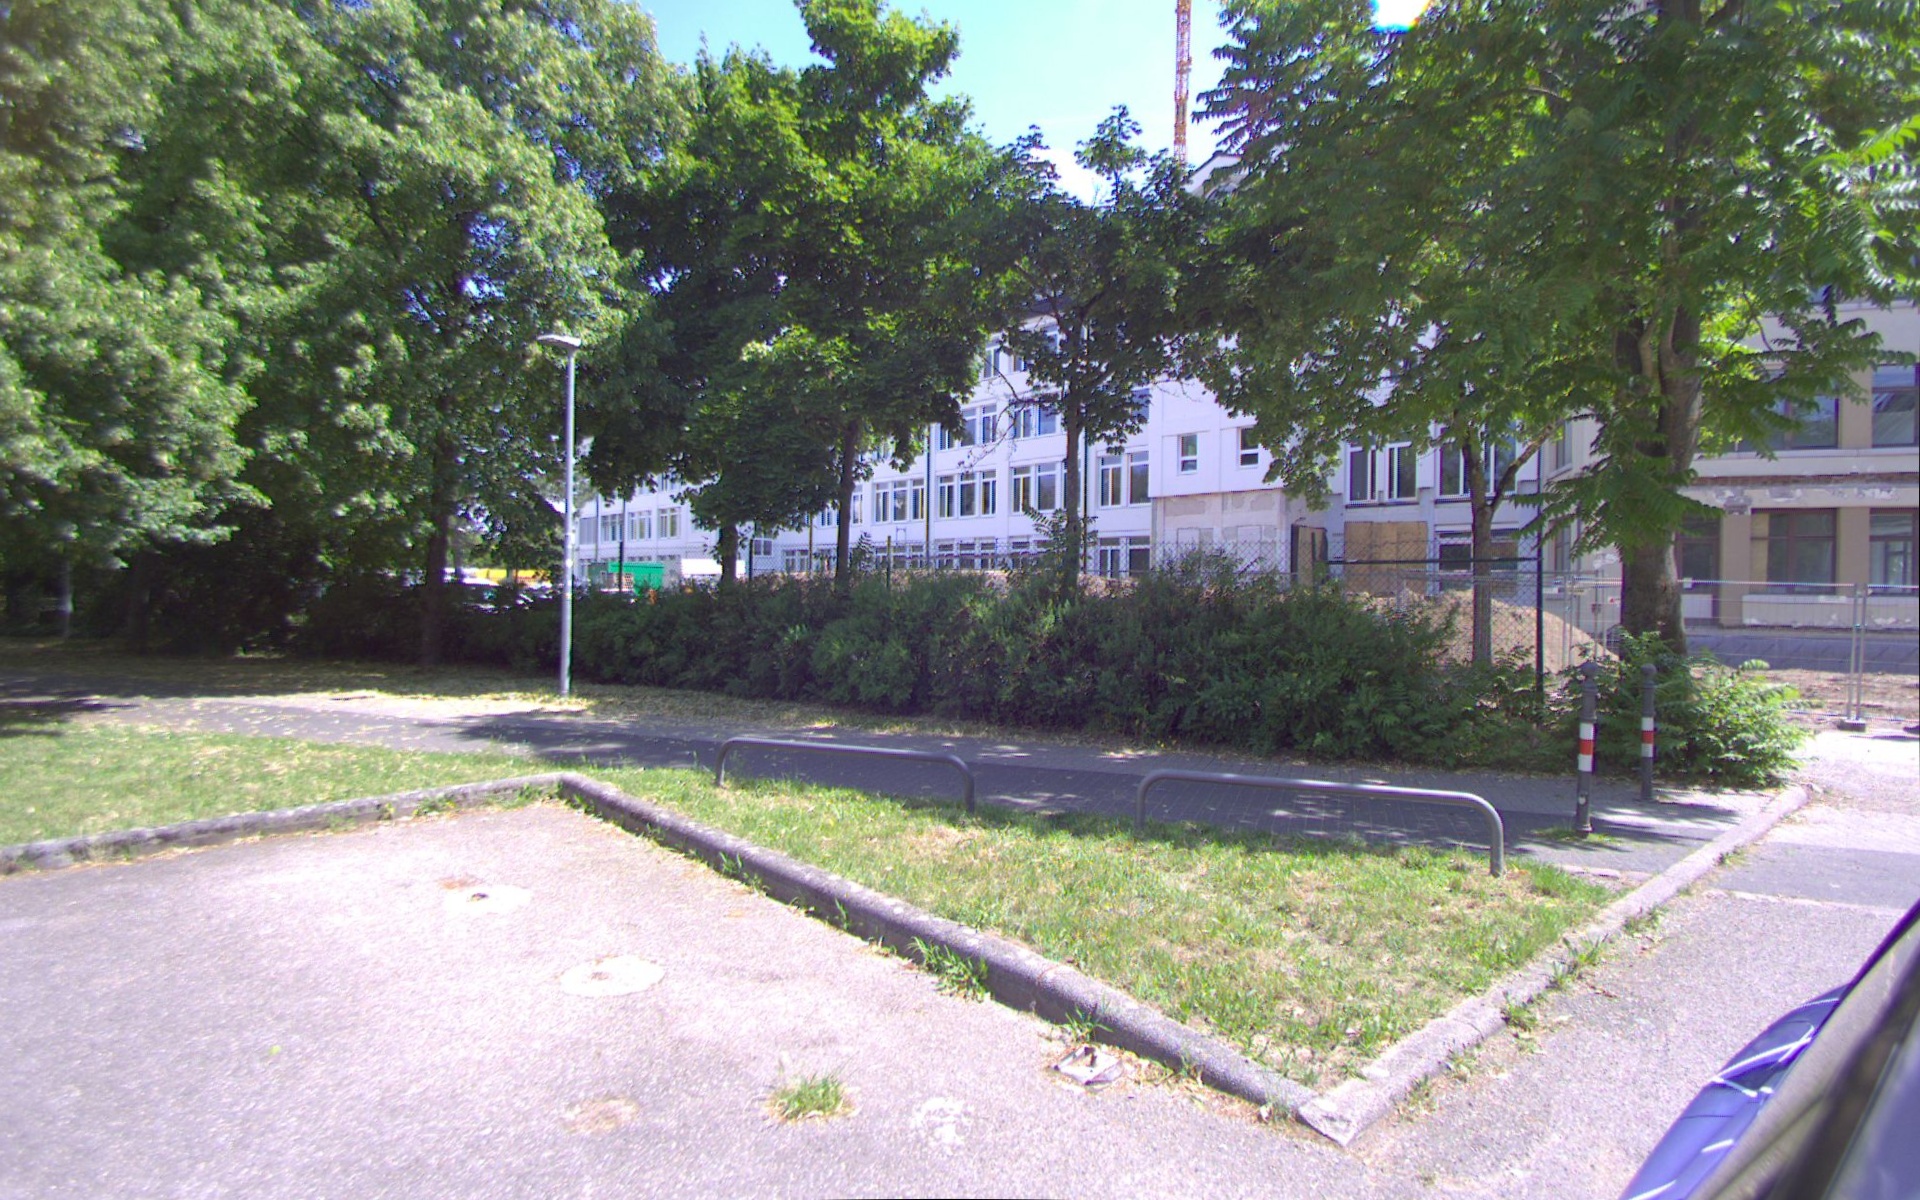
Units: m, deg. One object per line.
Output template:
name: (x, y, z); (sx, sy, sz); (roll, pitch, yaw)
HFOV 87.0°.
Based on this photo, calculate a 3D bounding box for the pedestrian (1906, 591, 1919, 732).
pedestrian: (12.966, 0.814, 12.984); (0.957, 1.842, 0.863); (1, 0, 24)
